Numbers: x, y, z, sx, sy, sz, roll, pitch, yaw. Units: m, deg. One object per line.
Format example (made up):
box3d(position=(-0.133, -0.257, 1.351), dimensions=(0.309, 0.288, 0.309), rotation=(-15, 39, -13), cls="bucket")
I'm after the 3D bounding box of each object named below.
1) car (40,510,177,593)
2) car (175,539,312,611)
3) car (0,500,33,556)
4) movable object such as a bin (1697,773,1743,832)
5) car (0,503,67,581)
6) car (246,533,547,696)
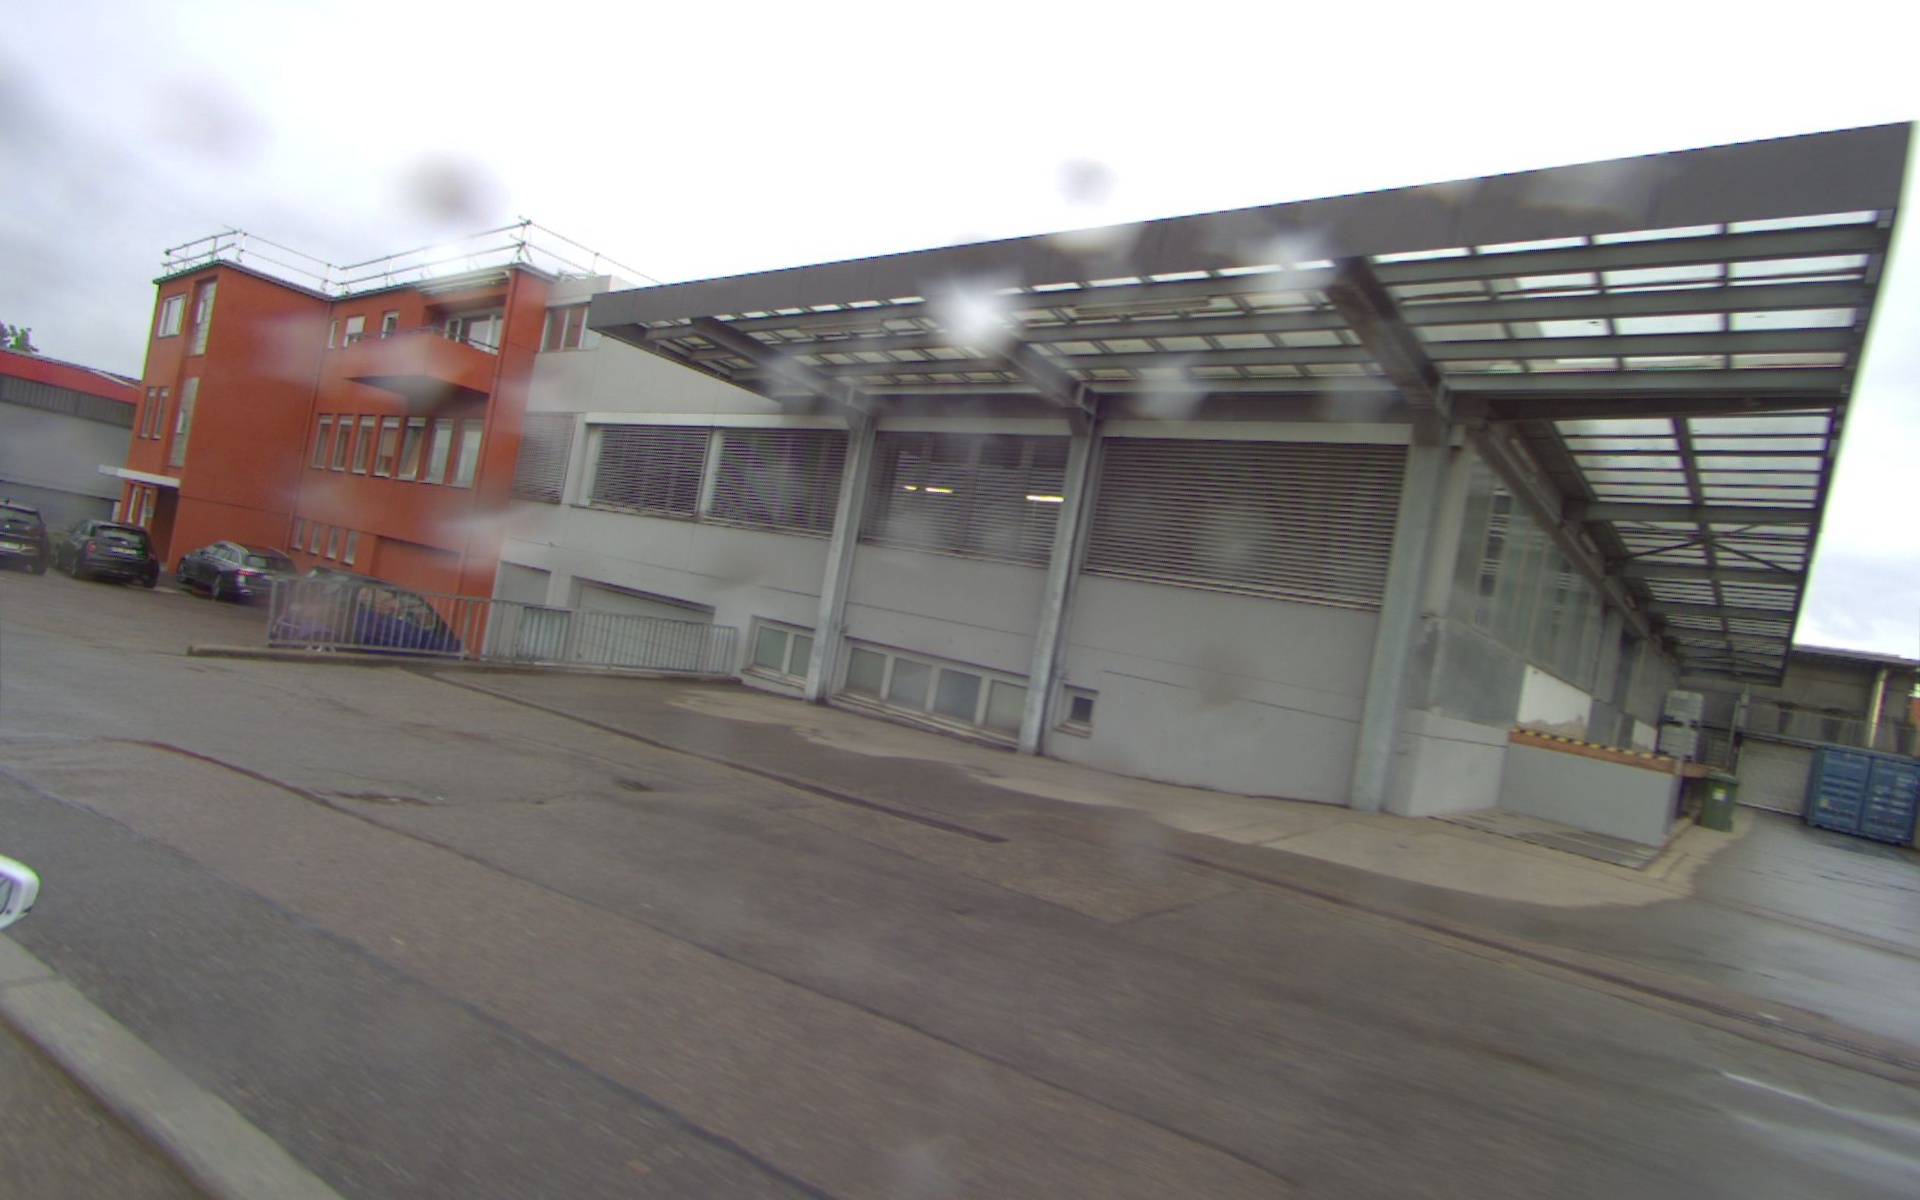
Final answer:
box3d(position=(-22.656, -1.318, 26.715), dimensions=(4.448, 1.697, 1.989), rotation=(6, -3, 41), cls="car")
box3d(position=(-20.291, -0.734, 28.420), dimensions=(4.448, 1.465, 1.970), rotation=(6, -4, 40), cls="car")
box3d(position=(-28.861, -2.297, 28.827), dimensions=(4.253, 1.488, 1.909), rotation=(7, -1, 27), cls="car")
box3d(position=(14.739, 3.917, 19.509), dimensions=(0.567, 1.002, 0.554), rotation=(9, 0, 39), cls="movable object such as a bin")
box3d(position=(-23.550, -1.560, 24.505), dimensions=(4.449, 1.596, 1.996), rotation=(6, -4, 41), cls="car")
box3d(position=(-8.449, 0.279, 15.341), dimensions=(1.594, 1.510, 3.452), rotation=(7, -11, 38), cls="car")
